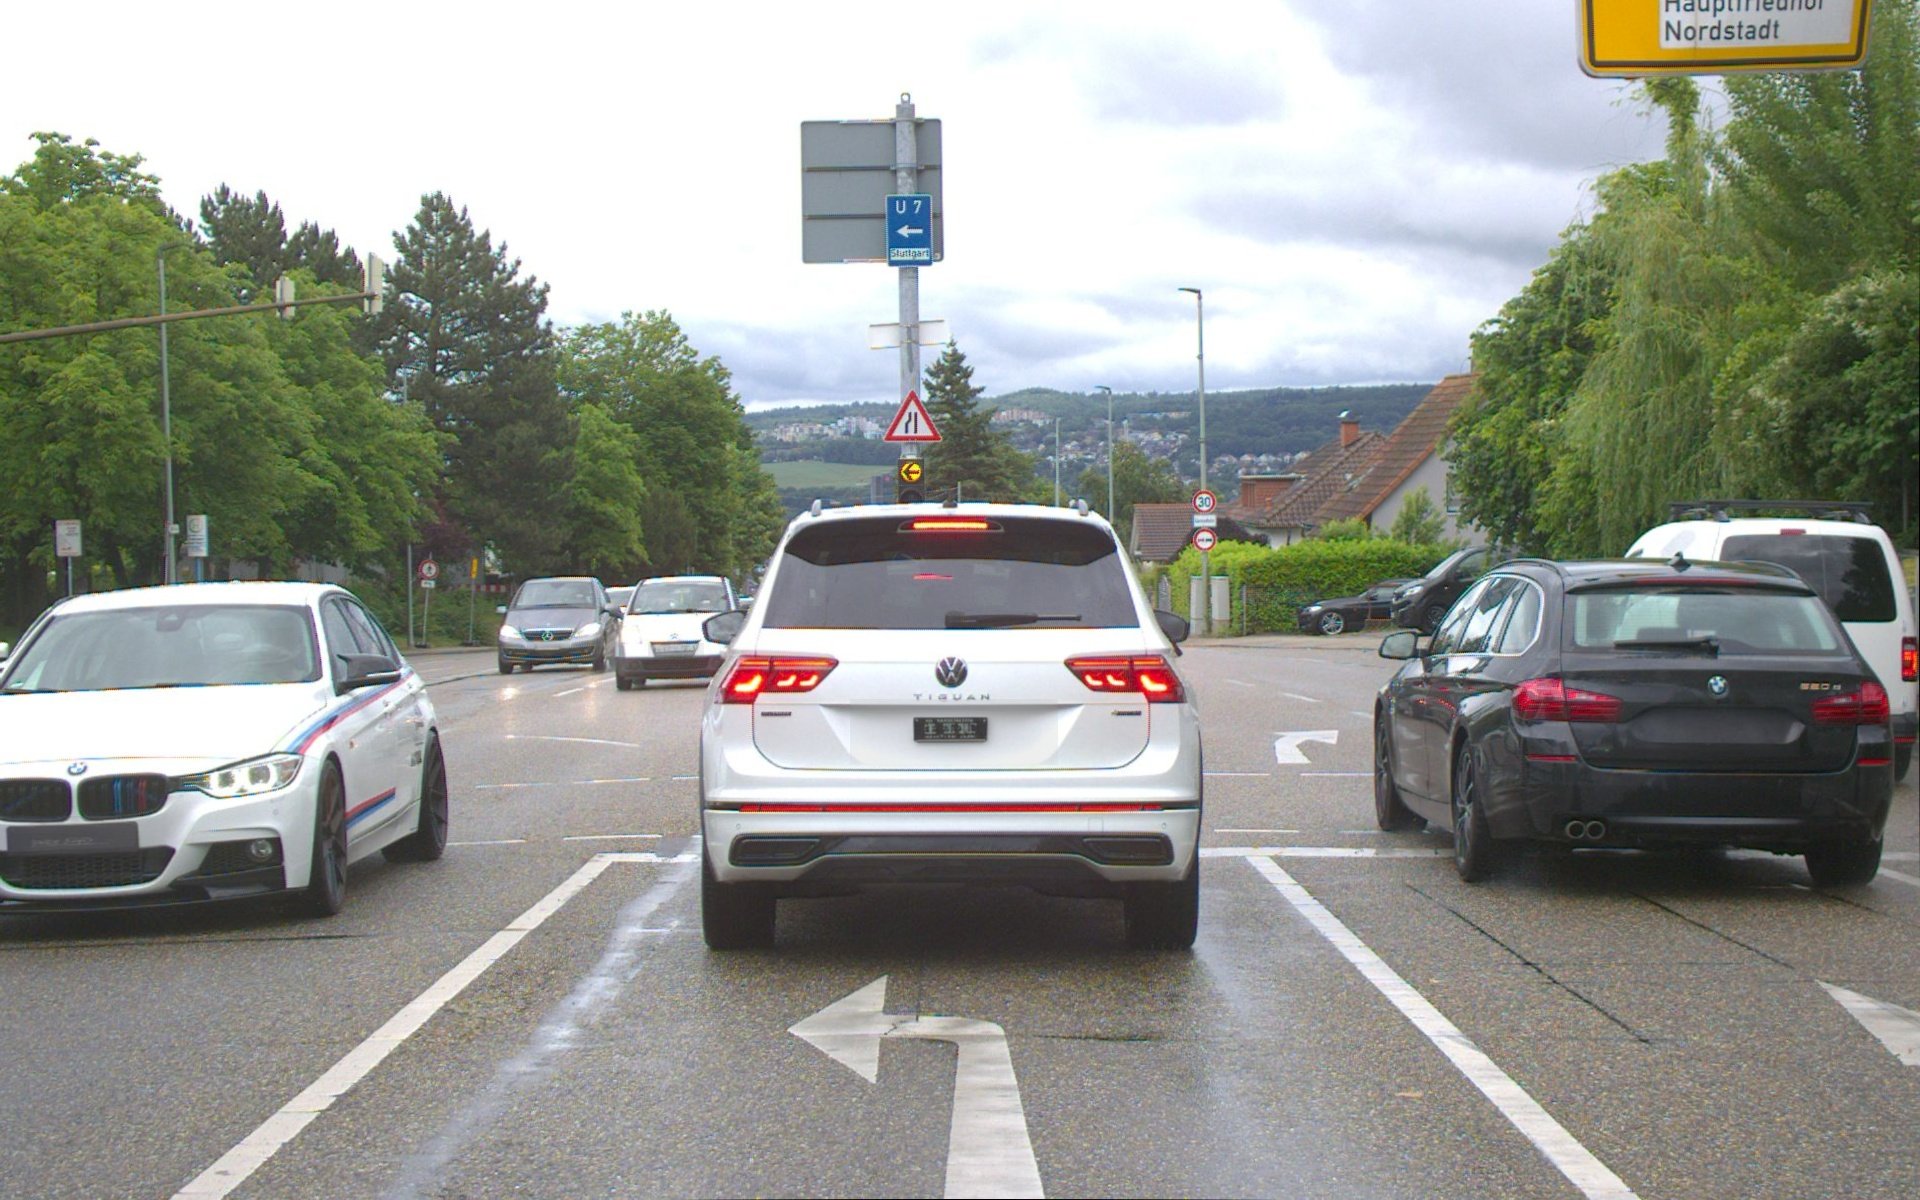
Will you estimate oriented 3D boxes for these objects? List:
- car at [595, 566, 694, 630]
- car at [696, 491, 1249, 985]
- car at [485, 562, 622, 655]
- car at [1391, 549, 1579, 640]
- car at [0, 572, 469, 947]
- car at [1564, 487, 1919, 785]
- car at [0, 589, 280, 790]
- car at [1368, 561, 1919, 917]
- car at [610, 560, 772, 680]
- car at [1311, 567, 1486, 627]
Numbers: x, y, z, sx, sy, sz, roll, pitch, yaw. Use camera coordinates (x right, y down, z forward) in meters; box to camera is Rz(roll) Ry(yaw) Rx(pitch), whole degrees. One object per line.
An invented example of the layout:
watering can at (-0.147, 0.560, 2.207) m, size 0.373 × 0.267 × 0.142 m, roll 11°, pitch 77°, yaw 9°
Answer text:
car at (-6.666, -0.060, 72.844) m, size 1.650 × 1.269 × 3.621 m, roll -1°, pitch 1°, yaw 2°
car at (0.031, 0.453, 13.651) m, size 1.868 × 1.668 × 4.000 m, roll 0°, pitch 0°, yaw 0°
car at (-6.849, 0.118, 58.305) m, size 1.774 × 1.453 × 4.549 m, roll -1°, pitch 1°, yaw 0°
car at (11.668, -0.138, 76.535) m, size 3.987 × 1.949 × 1.585 m, roll 1°, pitch 1°, yaw 4°
car at (-3.493, 0.626, 15.788) m, size 1.749 × 1.380 × 4.411 m, roll -3°, pitch 1°, yaw 1°
car at (5.582, 0.182, 24.655) m, size 1.764 × 1.870 × 3.806 m, roll 0°, pitch 3°, yaw -1°
car at (-6.757, 0.653, 27.398) m, size 1.774 × 1.380 × 4.549 m, roll -1°, pitch 1°, yaw 0°
car at (3.156, 0.597, 16.285) m, size 1.899 × 1.437 × 4.000 m, roll 1°, pitch -1°, yaw -1°
car at (-3.531, 0.231, 45.853) m, size 1.774 × 1.453 × 4.549 m, roll -1°, pitch 1°, yaw 0°
car at (10.352, -0.079, 81.397) m, size 3.987 × 1.372 × 1.585 m, roll 1°, pitch 1°, yaw 4°
